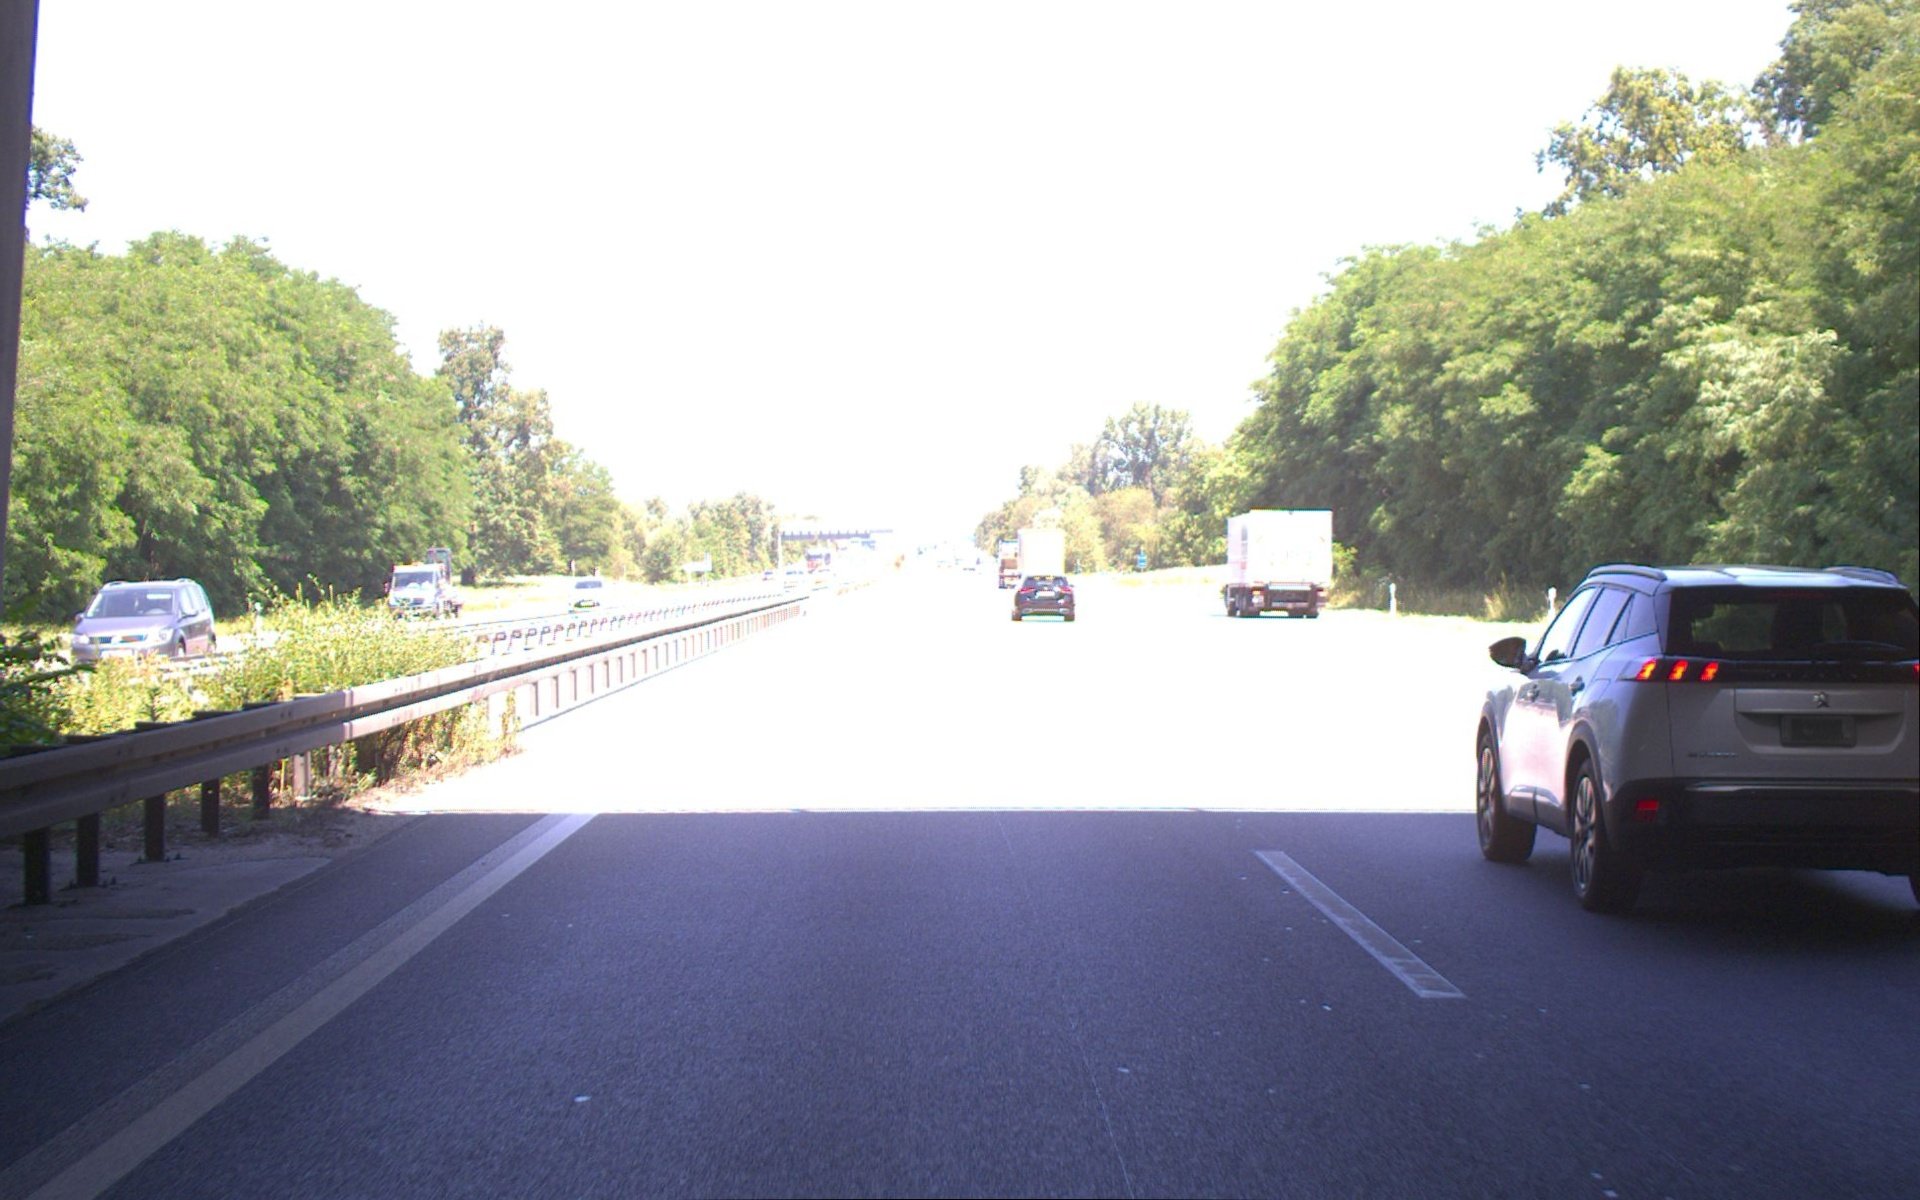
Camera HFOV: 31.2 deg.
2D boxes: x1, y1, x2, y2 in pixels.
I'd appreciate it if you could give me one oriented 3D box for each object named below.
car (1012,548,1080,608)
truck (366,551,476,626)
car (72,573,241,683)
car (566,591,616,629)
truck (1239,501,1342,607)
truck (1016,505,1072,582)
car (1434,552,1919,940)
[{"bbox_3d":[2.490,-0.644,100.634,1.827,1.700,4.000,1,0,-1],"label":"car"},{"bbox_3d":[-22.863,-0.515,146.573,2.753,2.980,12.856,-1,0,-1],"label":"truck"},{"bbox_3d":[-13.384,0.435,57.524,1.740,1.713,4.639,-2,0,-1],"label":"car"},{"bbox_3d":[-15.542,0.409,145.113,1.688,1.539,4.204,1,0,-1],"label":"car"},{"bbox_3d":[10.810,-1.485,113.268,3.028,3.308,10.769,1,0,4],"label":"truck"},{"bbox_3d":[5.510,-3.652,227.437,3.377,4.864,15.086,1,0,0],"label":"truck"},{"bbox_3d":[3.575,0.587,16.649,1.827,1.602,4.809,0,0,-1],"label":"car"}]
